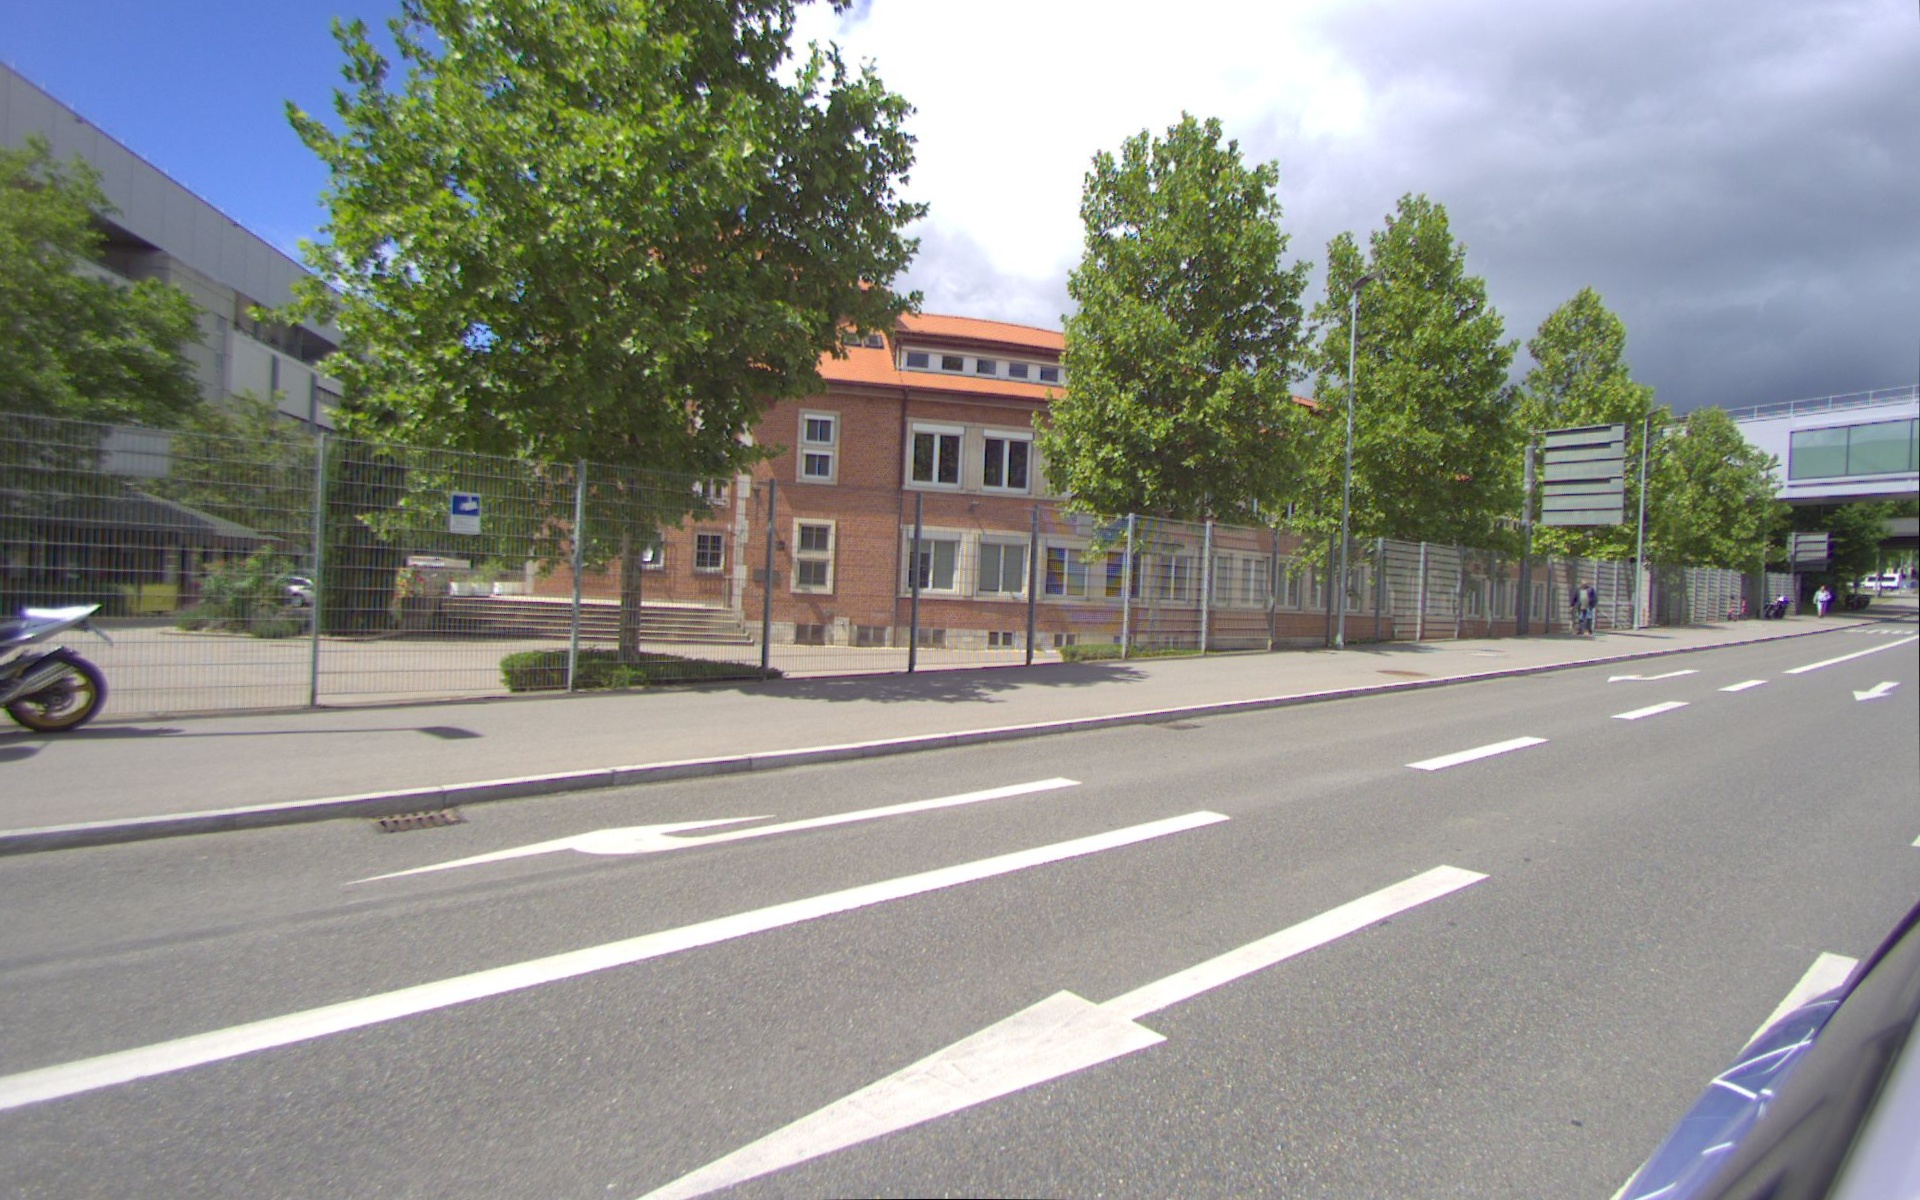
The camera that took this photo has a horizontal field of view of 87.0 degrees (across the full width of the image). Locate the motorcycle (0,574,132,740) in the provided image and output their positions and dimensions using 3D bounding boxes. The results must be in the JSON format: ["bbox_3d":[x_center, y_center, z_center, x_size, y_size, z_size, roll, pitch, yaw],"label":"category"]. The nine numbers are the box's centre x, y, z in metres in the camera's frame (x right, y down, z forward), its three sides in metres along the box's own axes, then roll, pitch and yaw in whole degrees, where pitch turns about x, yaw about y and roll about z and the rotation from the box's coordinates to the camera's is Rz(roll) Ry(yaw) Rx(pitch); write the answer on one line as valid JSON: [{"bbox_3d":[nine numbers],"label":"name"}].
[{"bbox_3d":[-7.392,0.408,7.319,0.693,1.172,2.113,4,3,44],"label":"motorcycle"}]

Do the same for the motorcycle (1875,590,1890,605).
[{"bbox_3d":[73.336,-0.213,80.481,2.144,1.096,0.679,-1,2,-43],"label":"motorcycle"}]

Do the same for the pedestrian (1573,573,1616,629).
[{"bbox_3d":[20.621,0.016,32.900,0.924,1.764,0.879,0,3,-42],"label":"pedestrian"}]

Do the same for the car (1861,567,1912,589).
[{"bbox_3d":[132.703,-3.086,144.966,2.043,3.075,5.200,0,1,-41],"label":"car"}]

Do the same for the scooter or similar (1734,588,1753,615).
[{"bbox_3d":[39.003,0.062,50.380,1.314,1.310,0.492,0,3,-42],"label":"scooter or similar"}]

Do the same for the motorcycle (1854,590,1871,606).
[{"bbox_3d":[68.451,-0.138,76.723,2.076,1.168,0.679,0,2,-41],"label":"motorcycle"}]

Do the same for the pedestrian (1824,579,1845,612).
[{"bbox_3d":[52.686,-0.267,60.940,1.078,1.911,0.790,0,2,-43],"label":"pedestrian"}]

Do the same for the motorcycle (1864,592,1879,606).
[{"bbox_3d":[70.861,-0.072,78.707,2.004,1.096,0.679,-1,2,-43],"label":"motorcycle"}]

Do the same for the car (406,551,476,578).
[{"bbox_3d":[-35.910,-2.452,70.156,3.916,1.805,2.004,-1,1,-13],"label":"car"}]

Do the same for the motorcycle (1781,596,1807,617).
[{"bbox_3d":[46.835,0.364,56.834,2.467,1.077,0.709,-1,4,-43],"label":"motorcycle"}]

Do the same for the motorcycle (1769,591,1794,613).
[{"bbox_3d":[44.517,0.098,54.813,2.209,1.077,0.669,0,4,-43],"label":"motorcycle"}]
